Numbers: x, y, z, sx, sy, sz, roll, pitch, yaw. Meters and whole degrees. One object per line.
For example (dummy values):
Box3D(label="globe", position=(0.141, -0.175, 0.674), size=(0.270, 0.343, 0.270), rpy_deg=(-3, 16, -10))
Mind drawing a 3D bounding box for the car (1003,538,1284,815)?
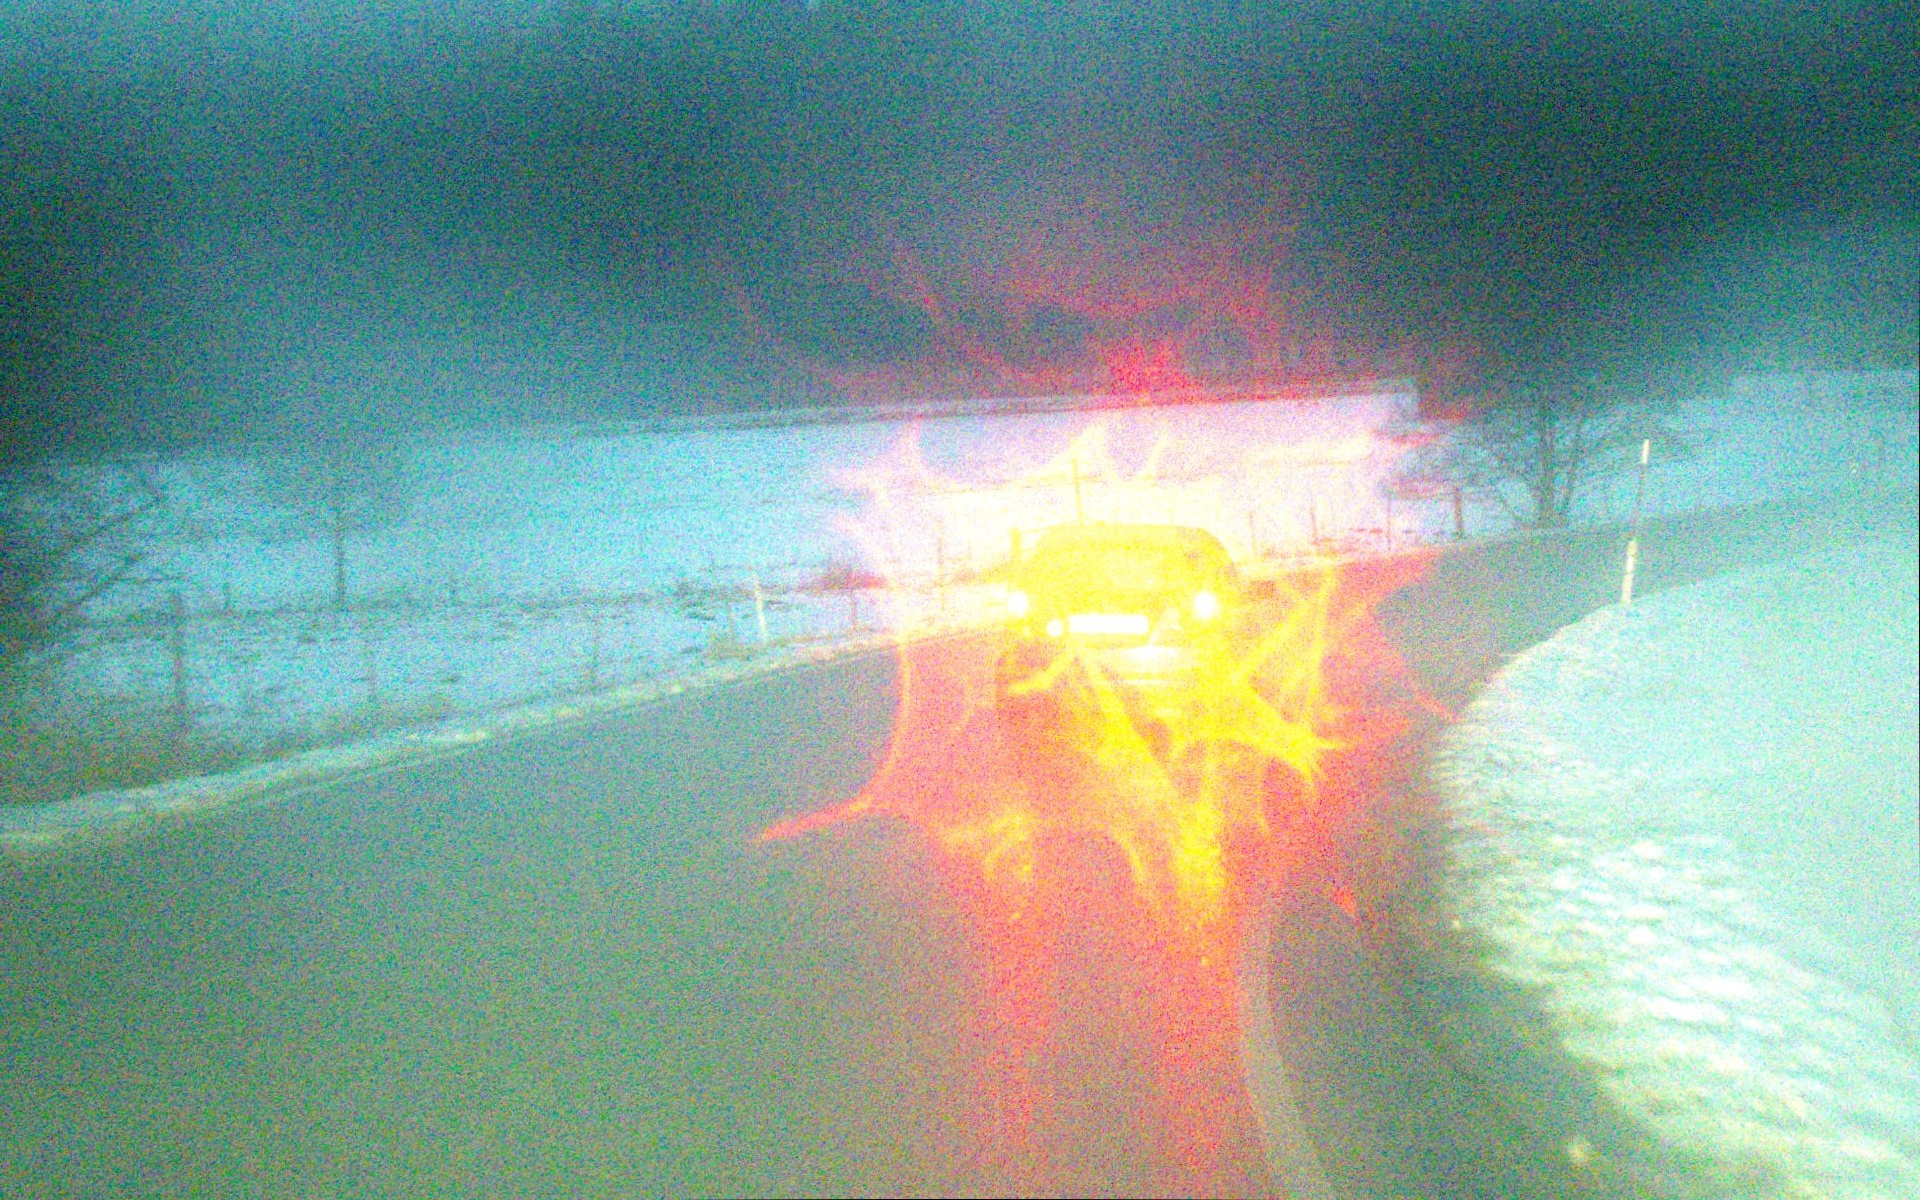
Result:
Box3D(label="car", position=(1.327, 0.482, 24.856), size=(1.822, 1.790, 3.577), rpy_deg=(-2, 1, 3))
